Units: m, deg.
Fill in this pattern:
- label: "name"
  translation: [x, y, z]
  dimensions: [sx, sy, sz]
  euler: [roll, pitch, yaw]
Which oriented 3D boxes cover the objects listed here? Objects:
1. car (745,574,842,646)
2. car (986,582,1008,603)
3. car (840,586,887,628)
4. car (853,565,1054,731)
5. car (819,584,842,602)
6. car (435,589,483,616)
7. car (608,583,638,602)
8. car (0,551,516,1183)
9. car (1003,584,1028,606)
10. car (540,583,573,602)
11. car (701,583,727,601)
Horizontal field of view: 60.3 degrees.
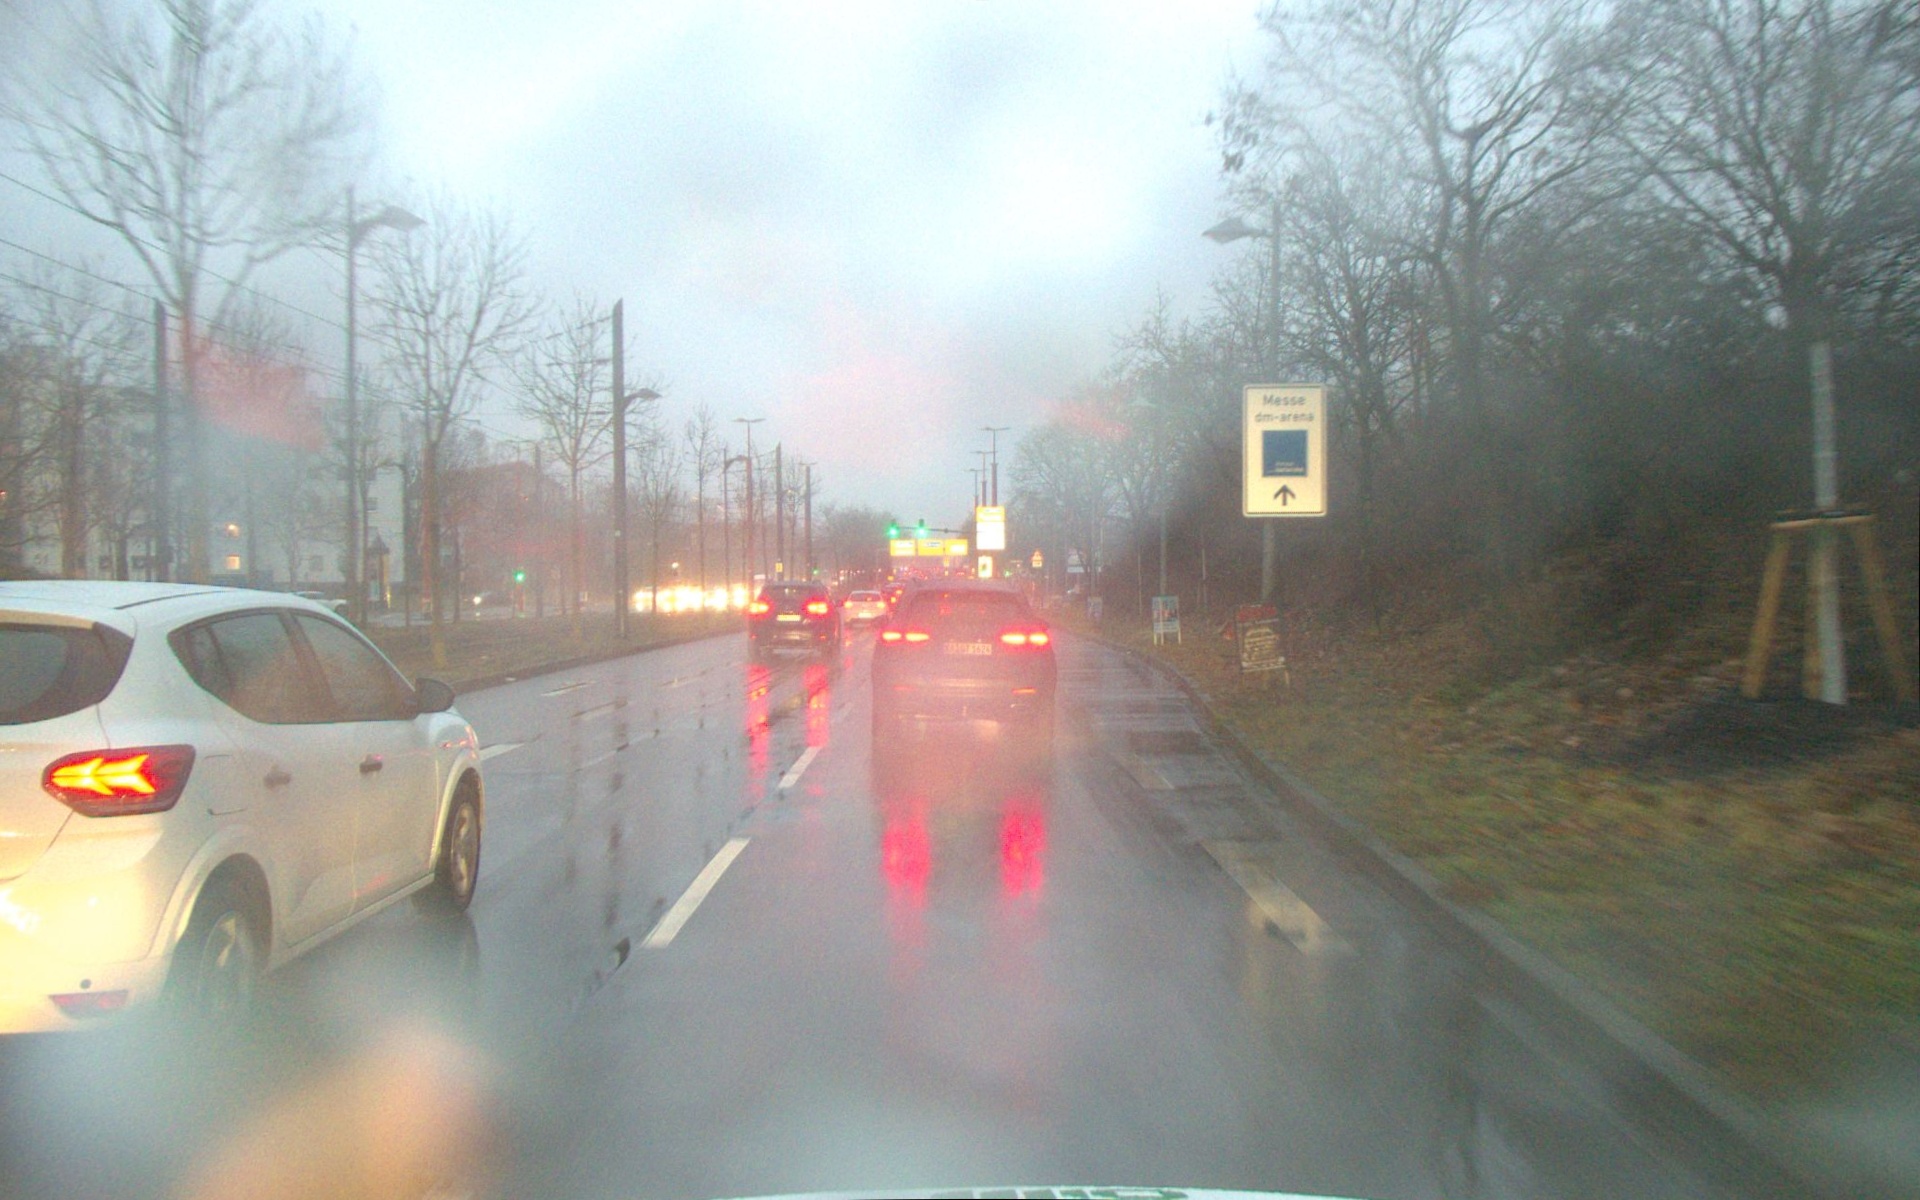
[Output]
- label: "car"
  translation: [-3.634, 0.183, 36.688]
  dimensions: [1.842, 1.484, 3.999]
  euler: [-1, 1, -2]
- label: "car"
  translation: [3.511, -0.709, 159.005]
  dimensions: [1.953, 1.889, 3.999]
  euler: [0, 0, -1]
- label: "car"
  translation: [-3.785, 0.251, 65.519]
  dimensions: [1.674, 1.585, 3.995]
  euler: [-1, 0, -1]
- label: "car"
  translation: [-0.101, 0.441, 18.092]
  dimensions: [1.957, 1.612, 3.999]
  euler: [0, 1, -1]
- label: "car"
  translation: [-12.542, -0.682, 160.607]
  dimensions: [1.953, 1.695, 3.835]
  euler: [0, 0, -1]
- label: "car"
  translation: [-32.583, 0.150, 107.609]
  dimensions: [1.953, 1.687, 3.999]
  euler: [0, 0, -1]
- label: "car"
  translation: [-30.779, -0.642, 151.136]
  dimensions: [1.953, 1.687, 3.999]
  euler: [0, 0, -1]
- label: "car"
  translation: [-2.987, 0.653, 6.113]
  dimensions: [1.674, 1.551, 4.133]
  euler: [-1, 0, -2]
- label: "car"
  translation: [4.732, -0.411, 141.783]
  dimensions: [1.953, 1.790, 3.999]
  euler: [0, 0, -1]
- label: "car"
  translation: [-35.167, -0.636, 144.135]
  dimensions: [1.953, 1.687, 3.999]
  euler: [0, 0, -1]
- label: "car"
  translation: [-23.978, -0.737, 161.350]
  dimensions: [1.953, 1.687, 3.999]
  euler: [0, 0, -1]
